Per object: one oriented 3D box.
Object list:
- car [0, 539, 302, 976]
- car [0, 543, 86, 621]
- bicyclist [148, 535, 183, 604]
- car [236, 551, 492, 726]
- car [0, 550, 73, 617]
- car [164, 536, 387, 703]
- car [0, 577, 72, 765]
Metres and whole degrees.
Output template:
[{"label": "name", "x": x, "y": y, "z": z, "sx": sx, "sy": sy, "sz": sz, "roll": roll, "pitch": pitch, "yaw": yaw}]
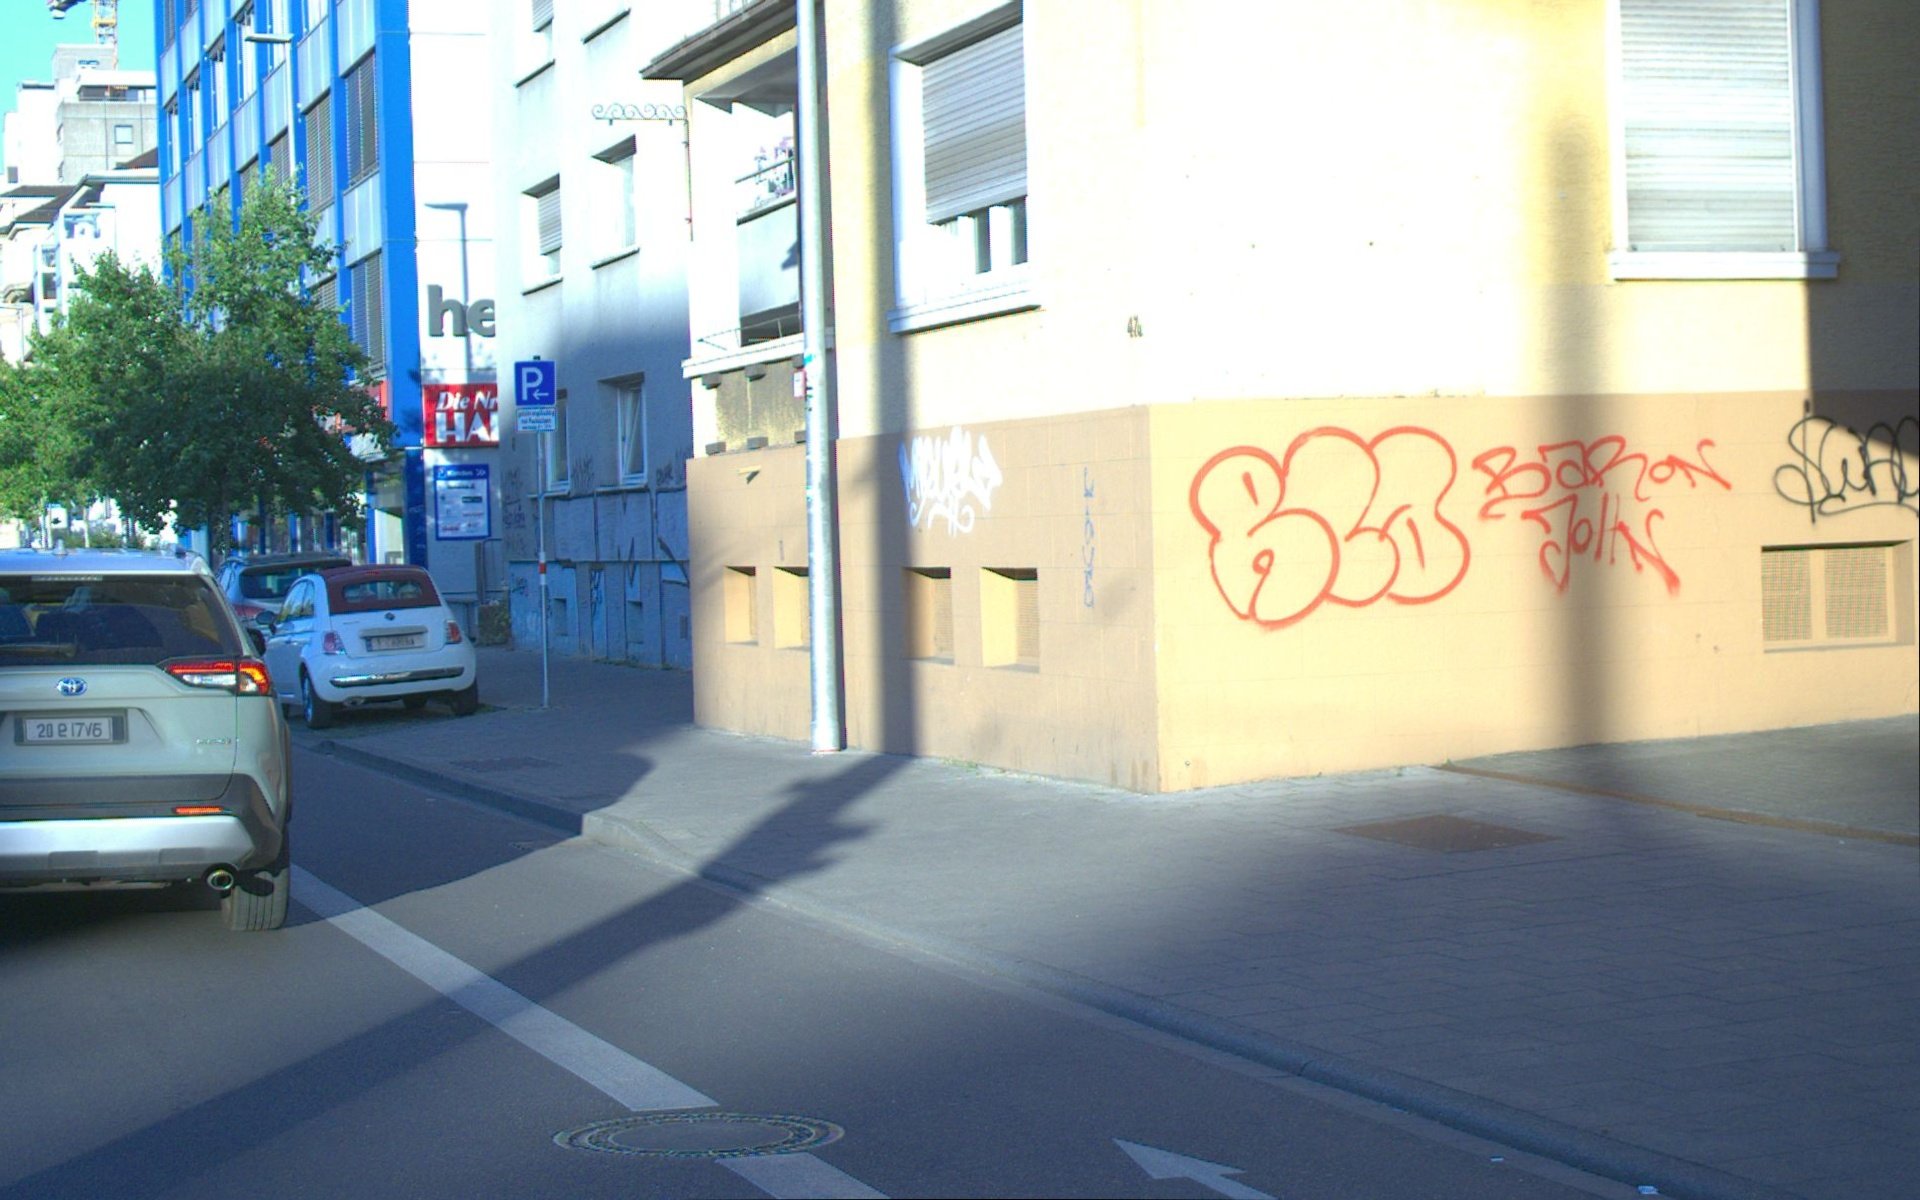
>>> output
[{"label": "car", "x": -4.205, "y": 0.606, "z": 15.483, "sx": 1.857, "sy": 1.708, "sz": 4.193, "roll": 0, "pitch": 0, "yaw": -19}, {"label": "car", "x": -18.842, "y": -0.364, "z": 69.612, "sx": 1.683, "sy": 1.449, "sz": 4.131, "roll": -3, "pitch": 1, "yaw": -21}, {"label": "bicyclist", "x": -17.529, "y": -0.673, "z": 75.823, "sx": 0.558, "sy": 1.470, "sz": 0.623, "roll": -5, "pitch": 2, "yaw": -21}, {"label": "car", "x": -5.922, "y": 0.347, "z": 33.874, "sx": 1.669, "sy": 1.512, "sz": 3.602, "roll": -5, "pitch": 2, "yaw": -22}, {"label": "car", "x": -21.653, "y": -0.378, "z": 79.256, "sx": 1.819, "sy": 1.449, "sz": 4.129, "roll": -3, "pitch": 1, "yaw": -21}, {"label": "car", "x": -7.789, "y": 0.178, "z": 38.827, "sx": 1.756, "sy": 1.648, "sz": 4.530, "roll": -4, "pitch": 2, "yaw": -19}, {"label": "car", "x": -8.600, "y": 0.545, "z": 28.594, "sx": 1.857, "sy": 1.457, "sz": 4.193, "roll": 0, "pitch": 0, "yaw": -21}]
